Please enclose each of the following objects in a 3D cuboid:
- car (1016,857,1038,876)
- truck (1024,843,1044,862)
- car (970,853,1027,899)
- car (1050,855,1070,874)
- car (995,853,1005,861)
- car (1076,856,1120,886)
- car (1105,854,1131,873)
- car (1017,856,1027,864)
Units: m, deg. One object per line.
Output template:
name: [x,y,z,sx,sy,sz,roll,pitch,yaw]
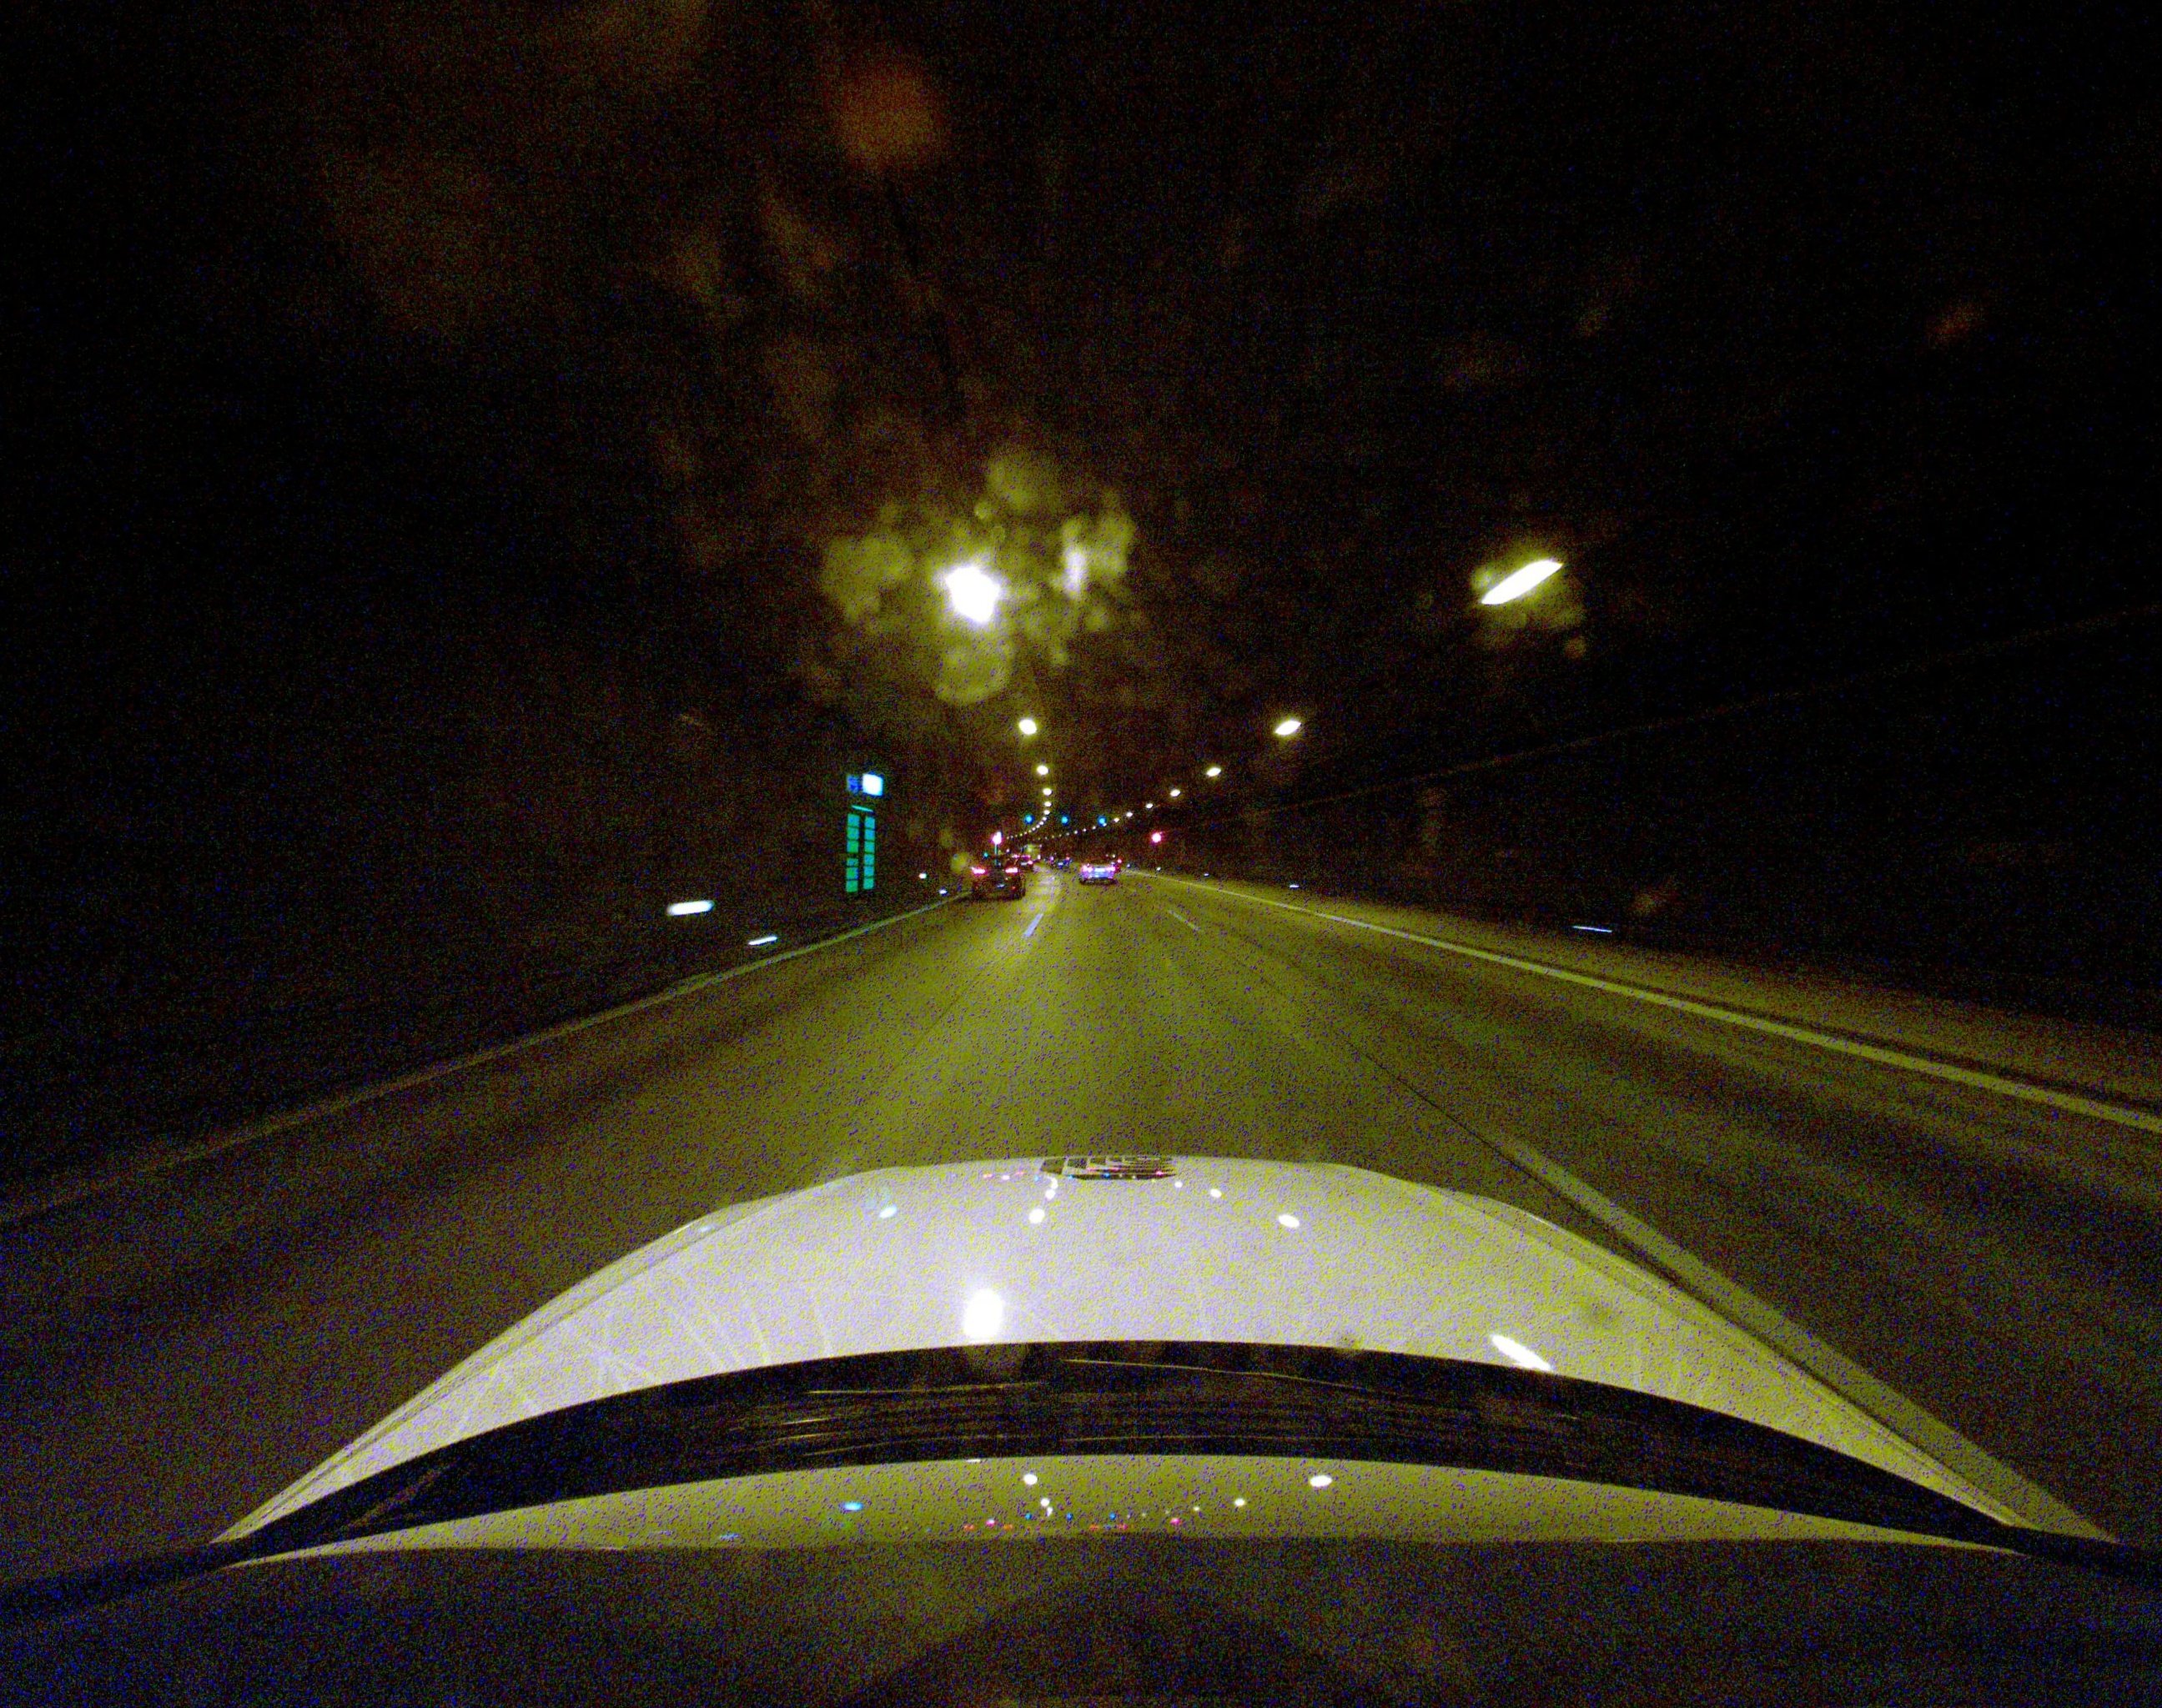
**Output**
car: [-5.017,1.137,74.834,1.799,1.684,3.989,0,0,-7]
truck: [-8.061,-0.298,138.708,3.079,3.113,10.009,1,0,-6]
car: [-2.985,0.777,30.217,1.780,1.598,3.799,-1,0,-1]
car: [-2.315,1.152,87.597,1.989,1.972,3.994,-1,-1,-4]
car: [-17.365,0.650,174.689,1.992,1.530,3.990,1,-1,-7]
car: [0.846,0.842,42.760,1.990,1.483,3.994,0,0,-4]
car: [3.185,0.788,70.746,1.835,1.602,3.996,0,0,-2]
car: [-14.603,1.482,202.371,1.994,1.754,3.985,1,-1,-11]
